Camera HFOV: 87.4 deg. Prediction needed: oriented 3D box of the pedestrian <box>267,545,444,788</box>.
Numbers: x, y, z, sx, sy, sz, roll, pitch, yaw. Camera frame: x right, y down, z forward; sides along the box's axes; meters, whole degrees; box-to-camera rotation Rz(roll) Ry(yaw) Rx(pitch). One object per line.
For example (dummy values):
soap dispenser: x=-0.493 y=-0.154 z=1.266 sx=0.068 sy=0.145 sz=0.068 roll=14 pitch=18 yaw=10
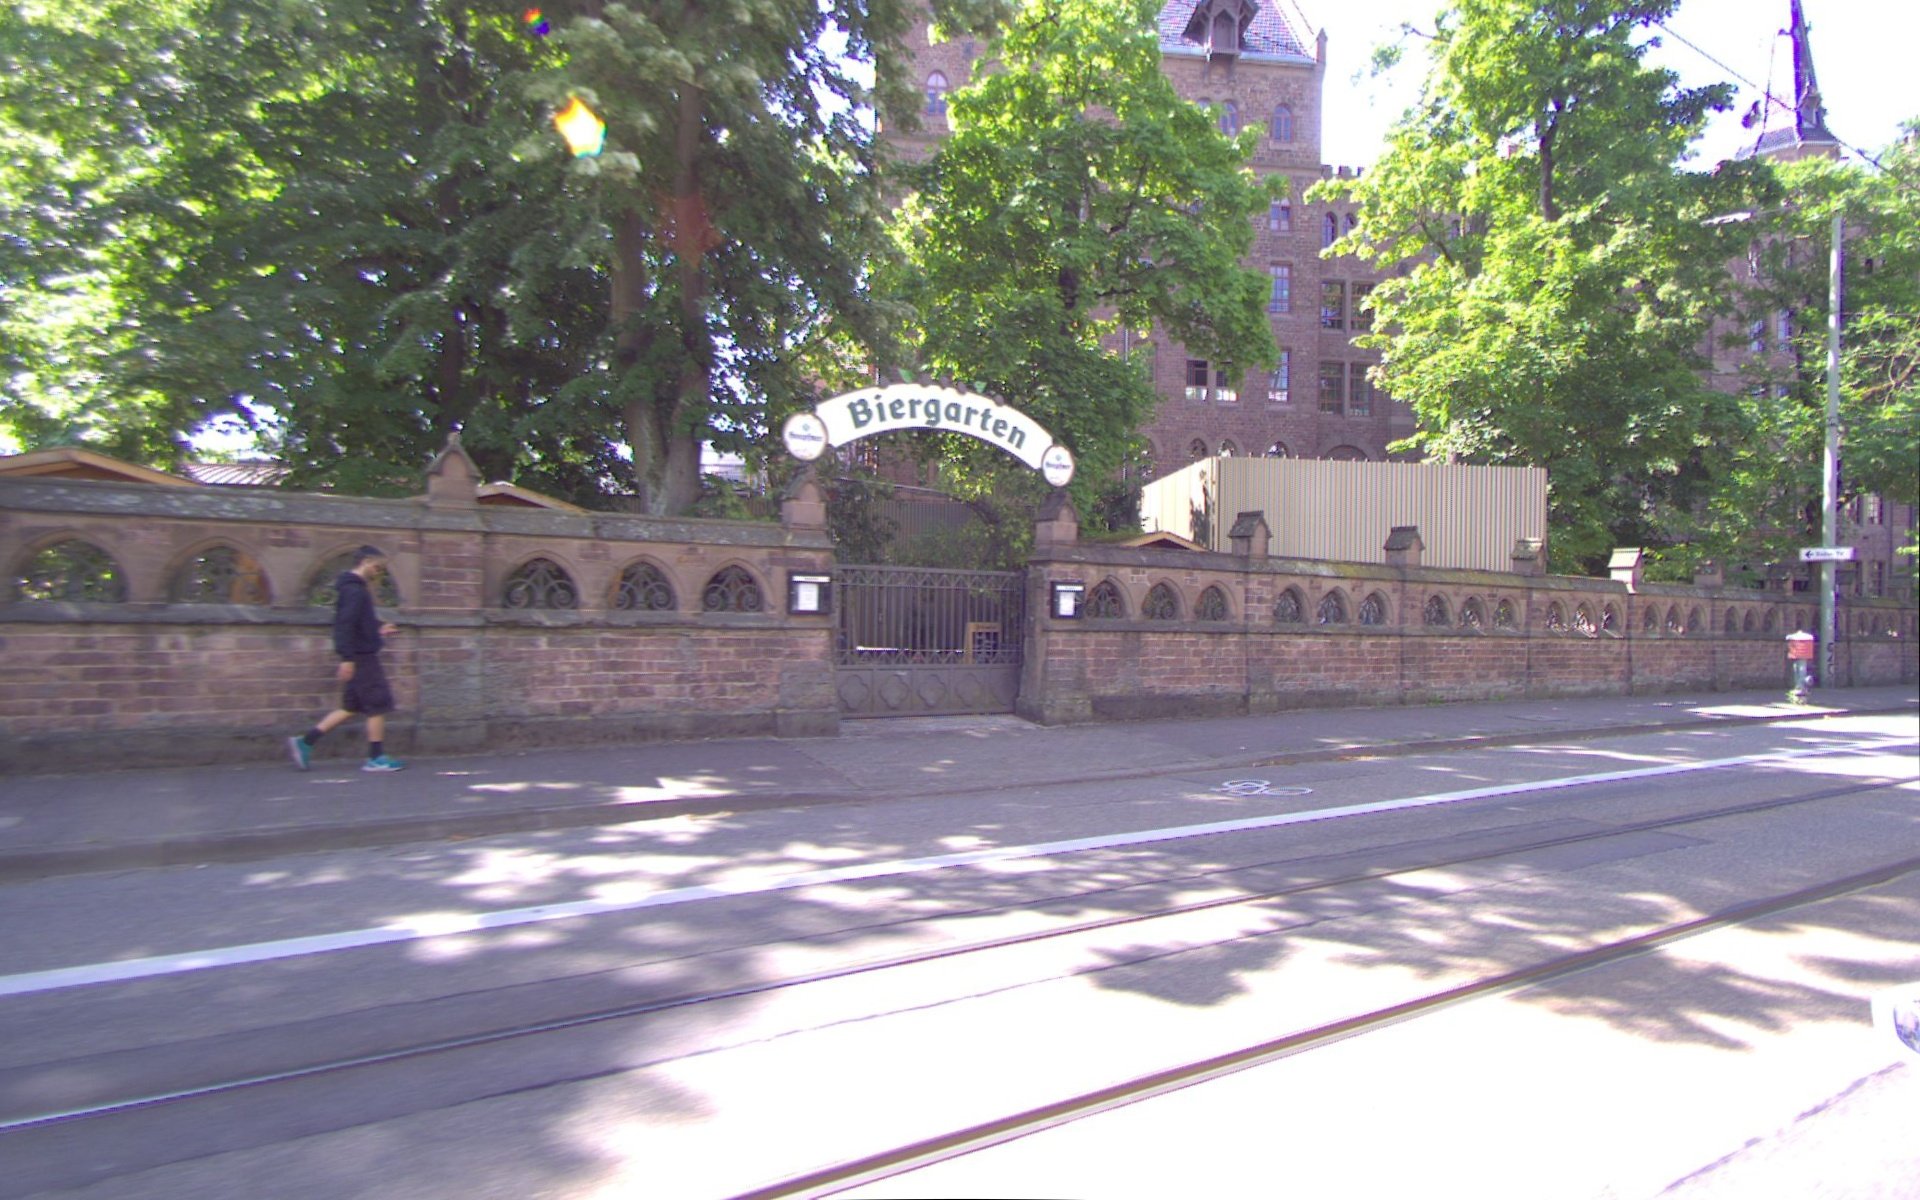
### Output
pedestrian: x=-4.981 y=0.501 z=8.348 sx=1.171 sy=1.840 sz=0.972 roll=1 pitch=3 yaw=-30
